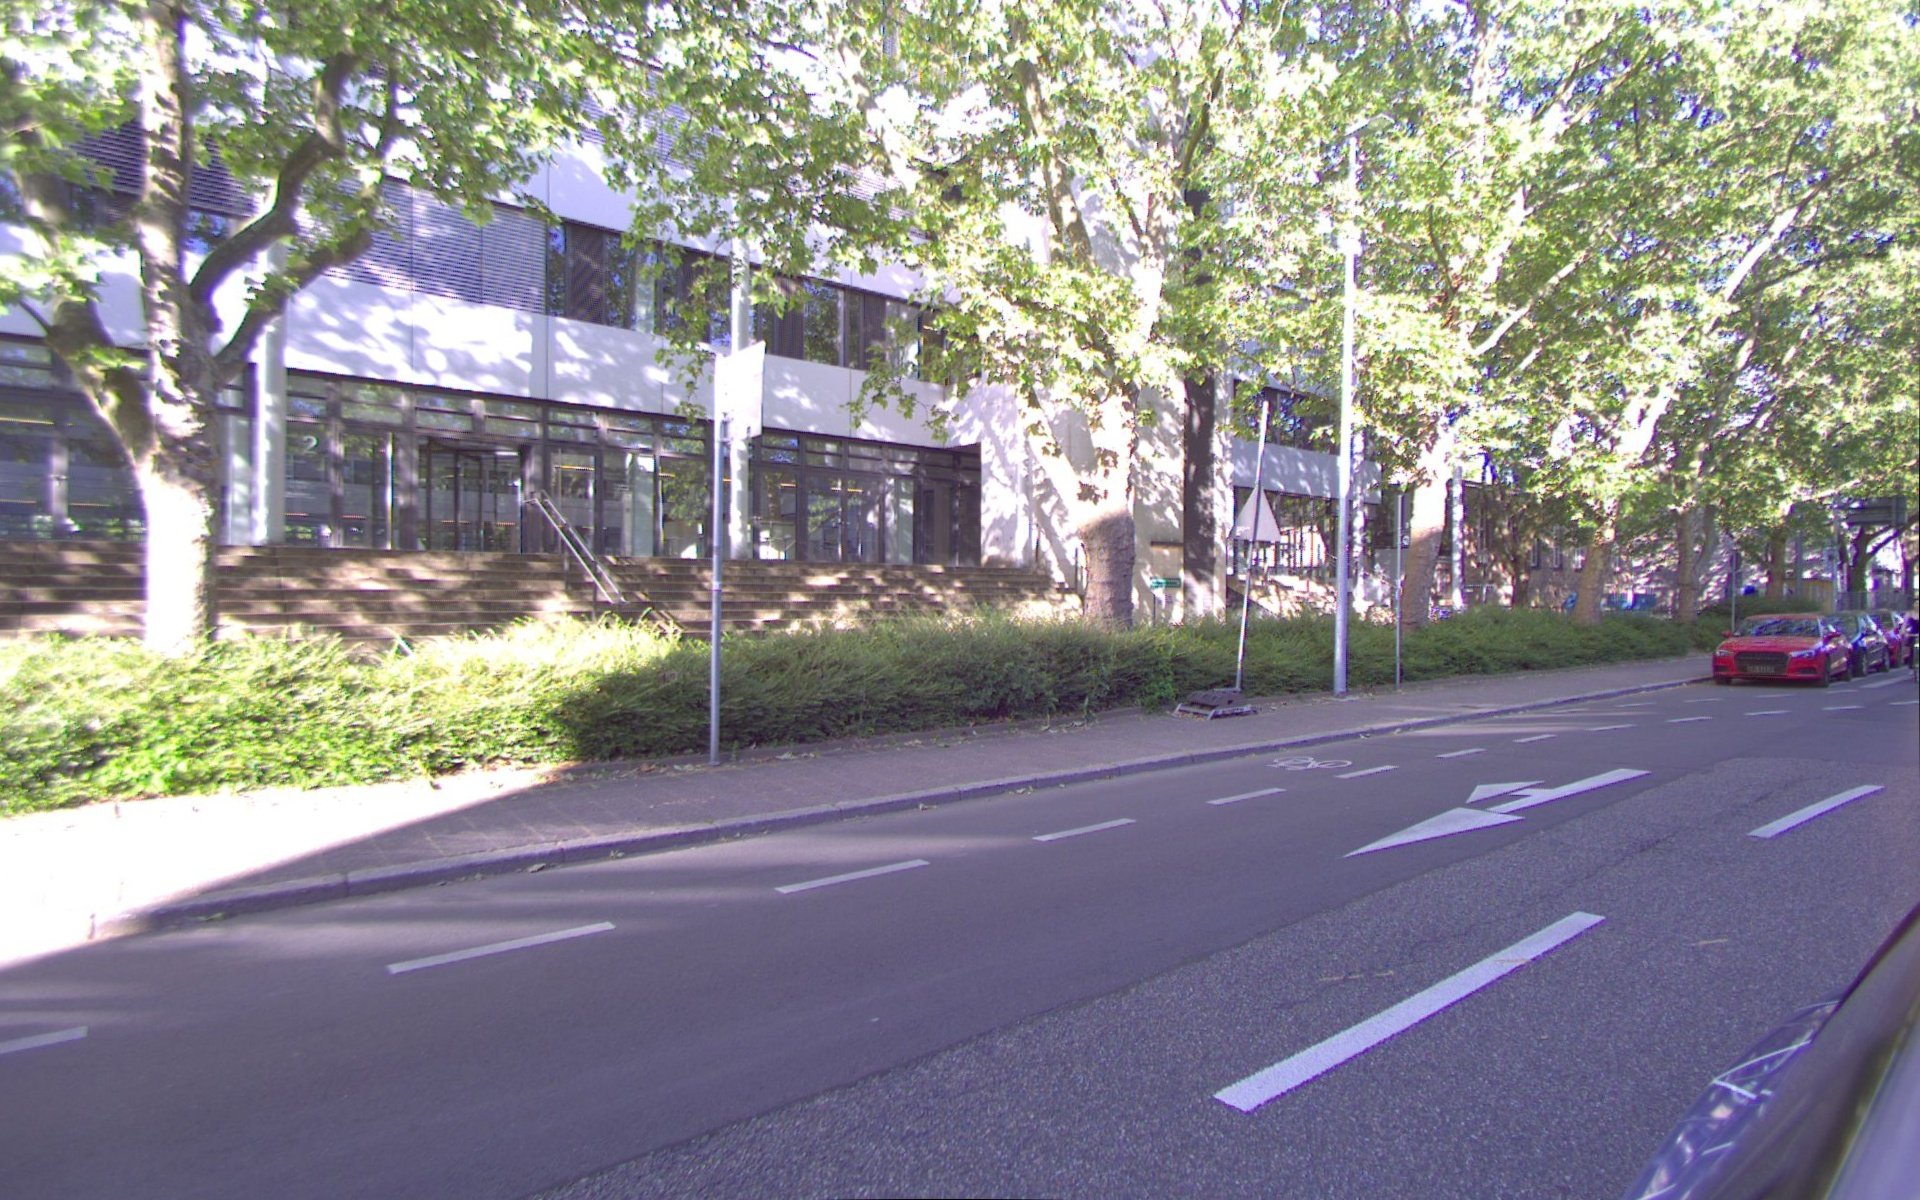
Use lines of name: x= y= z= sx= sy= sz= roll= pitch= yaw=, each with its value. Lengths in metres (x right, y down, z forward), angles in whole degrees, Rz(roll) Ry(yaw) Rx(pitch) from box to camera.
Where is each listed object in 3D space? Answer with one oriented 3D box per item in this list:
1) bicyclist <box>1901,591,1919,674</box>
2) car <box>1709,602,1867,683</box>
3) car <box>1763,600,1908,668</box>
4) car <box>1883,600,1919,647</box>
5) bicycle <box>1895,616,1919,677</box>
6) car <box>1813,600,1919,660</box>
bicyclist: x=20.104 y=0.656 z=20.956 sx=0.880 sy=1.701 sz=0.769 roll=0 pitch=-2 yaw=-41
car: x=17.024 y=0.792 z=20.751 sx=4.006 sy=1.461 sz=1.897 roll=0 pitch=0 yaw=-41
car: x=20.573 y=0.729 z=23.734 sx=4.003 sy=1.466 sz=1.898 roll=0 pitch=0 yaw=-39
car: x=31.840 y=0.747 z=33.060 sx=4.003 sy=1.469 sz=1.898 roll=0 pitch=0 yaw=-39
bicycle: x=20.104 y=0.931 z=20.947 sx=2.766 sy=1.150 sz=0.769 roll=-1 pitch=-1 yaw=-41
car: x=24.683 y=0.748 z=27.245 sx=4.003 sy=1.469 sz=1.898 roll=0 pitch=0 yaw=-39
